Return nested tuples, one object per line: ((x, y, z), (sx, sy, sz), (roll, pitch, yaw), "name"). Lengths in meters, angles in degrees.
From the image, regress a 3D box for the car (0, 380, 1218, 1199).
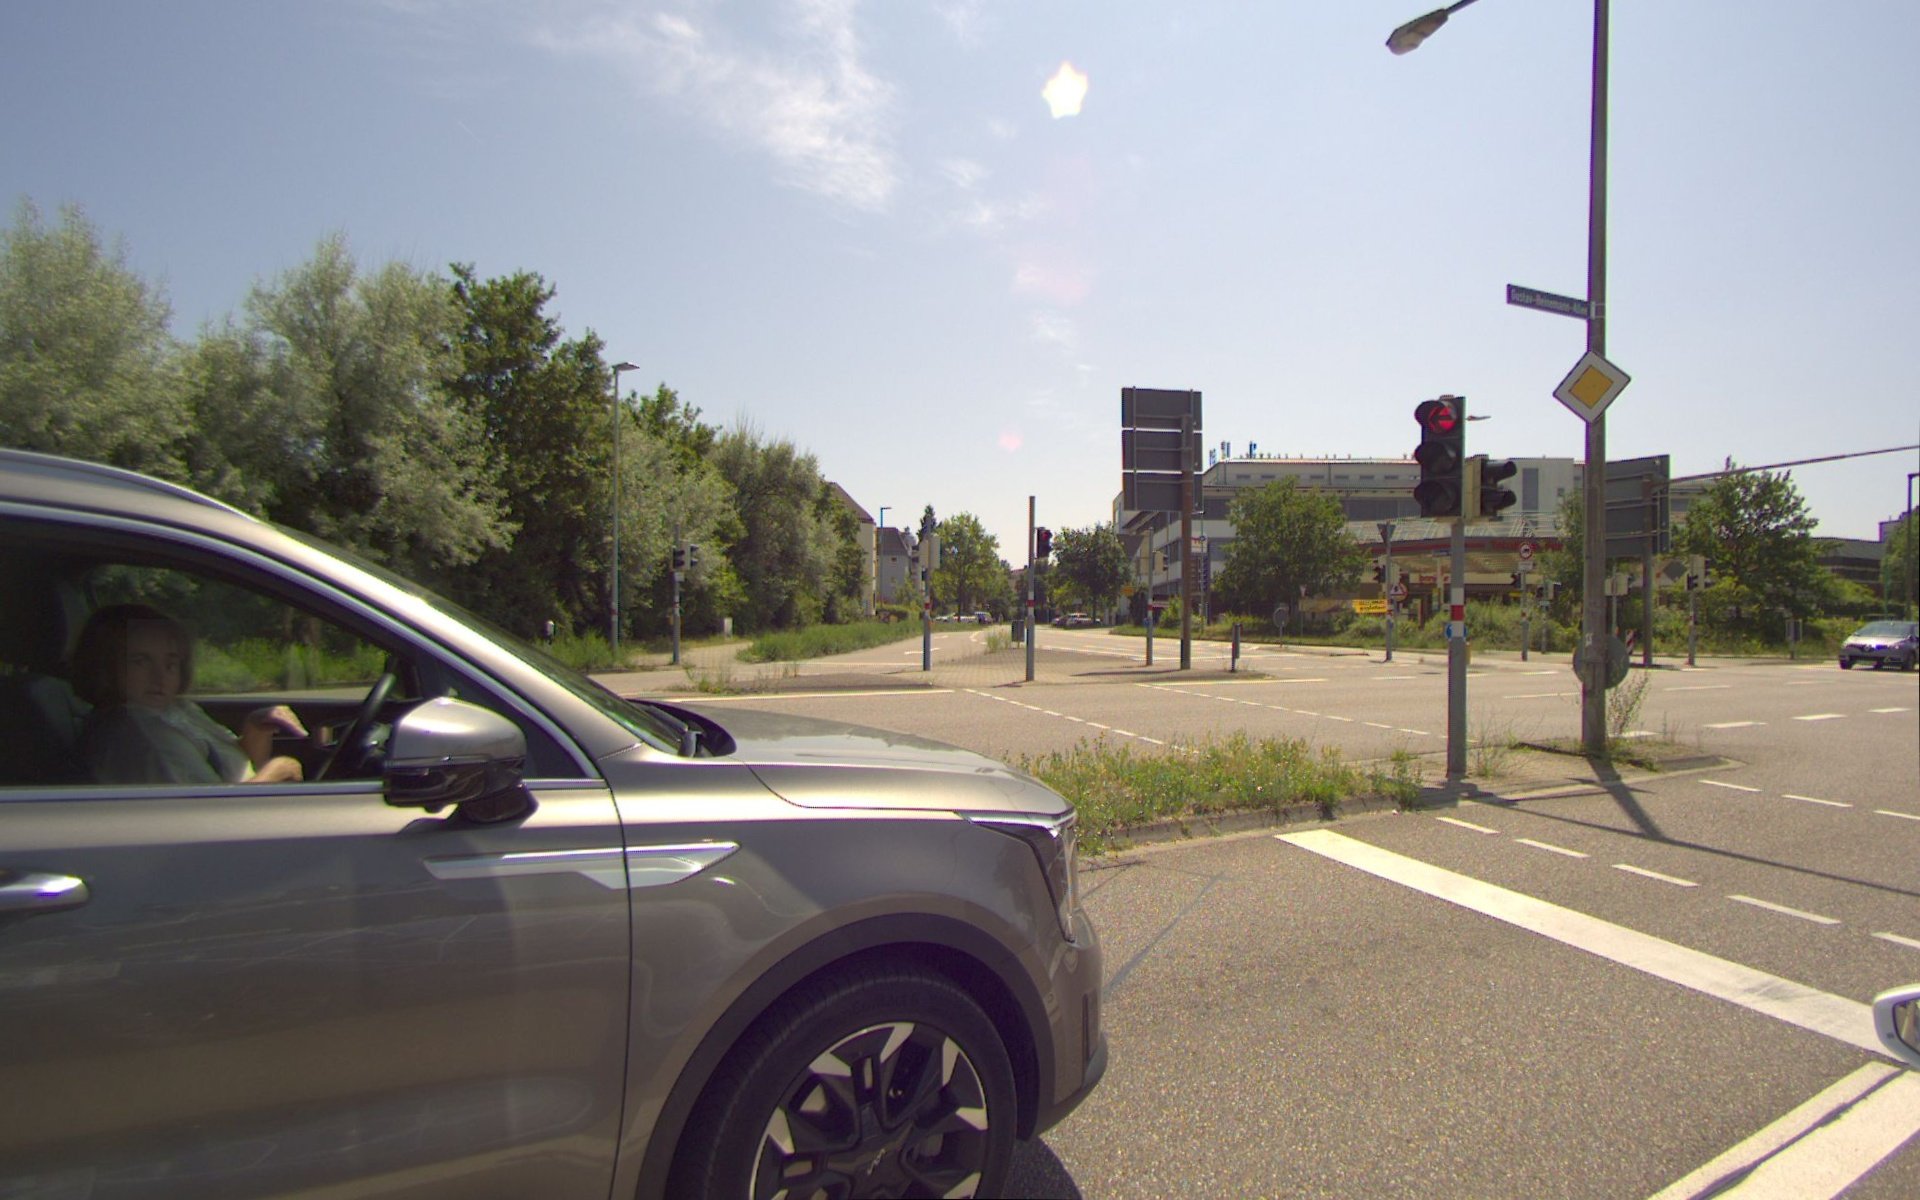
((-1.730, 0.565, 2.052), (4.480, 1.690, 1.771), (1, -1, -31), "car")

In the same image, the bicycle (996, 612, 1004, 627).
((5.782, 2.789, 144.613), (0.876, 2.040, 3.196), (0, -1, 6), "bicycle")

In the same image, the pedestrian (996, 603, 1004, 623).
((5.809, 1.892, 144.731), (0.864, 2.751, 1.518), (2, 0, 8), "pedestrian")

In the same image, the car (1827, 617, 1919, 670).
((30.012, 1.383, 32.614), (3.954, 1.560, 1.650), (1, 0, -31), "car")
